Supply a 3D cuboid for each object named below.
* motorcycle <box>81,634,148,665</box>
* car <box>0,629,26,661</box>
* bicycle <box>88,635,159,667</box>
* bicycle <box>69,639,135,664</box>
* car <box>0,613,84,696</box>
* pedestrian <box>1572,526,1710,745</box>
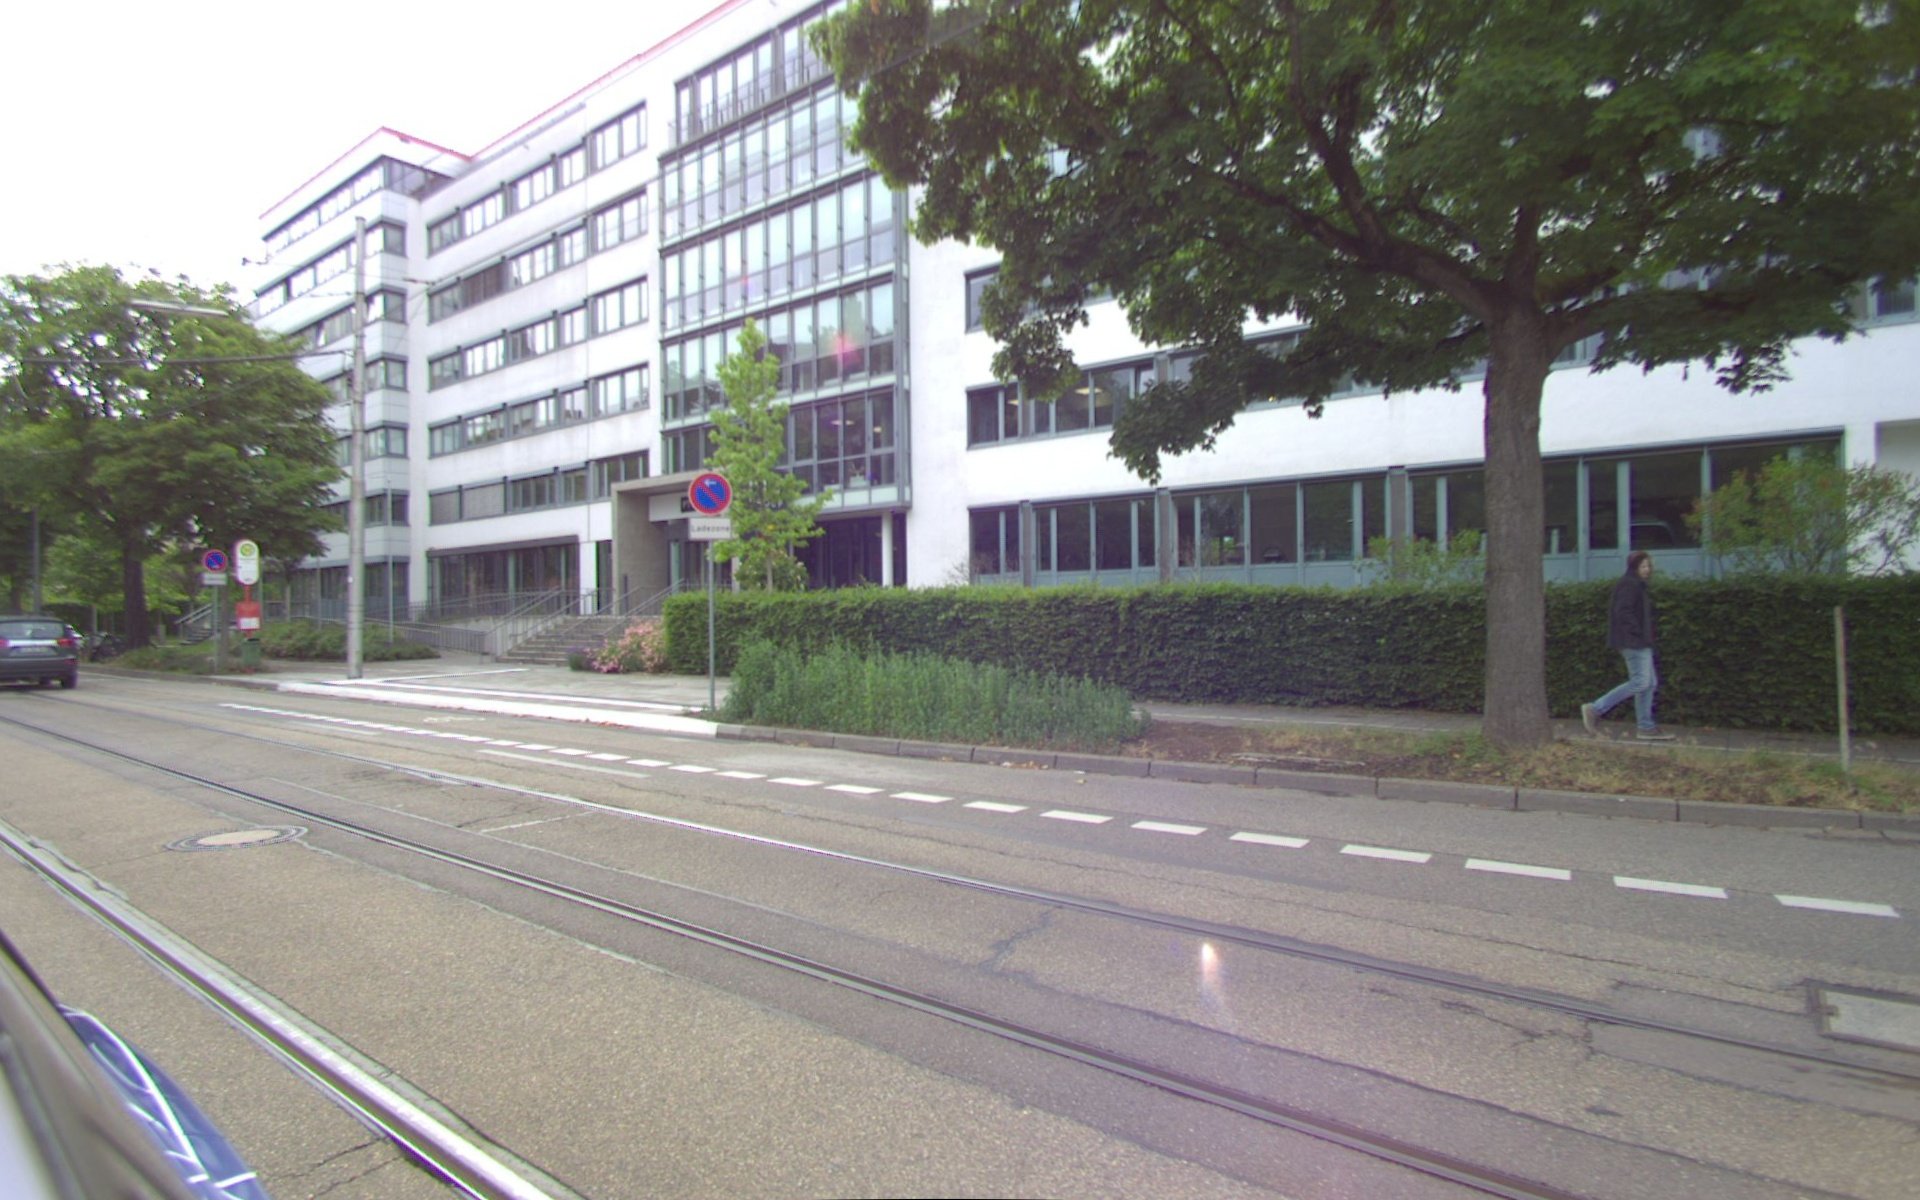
[{"bbox_3d":[-31.279,1.821,37.446,0.730,1.058,1.774,-1,0,31],"label":"motorcycle"},{"bbox_3d":[-48.465,2.249,50.770,3.749,1.458,1.614,-1,2,36],"label":"car"},{"bbox_3d":[-29.690,1.792,35.940,0.739,1.061,1.815,-2,-1,30],"label":"bicycle"},{"bbox_3d":[-32.596,1.936,38.466,0.630,0.906,1.792,0,-1,32],"label":"bicycle"},{"bbox_3d":[-21.739,1.187,23.203,4.331,1.751,1.809,-1,-1,40],"label":"car"},{"bbox_3d":[6.712,0.326,9.985,0.702,2.029,0.991,-2,1,-45],"label":"pedestrian"}]
